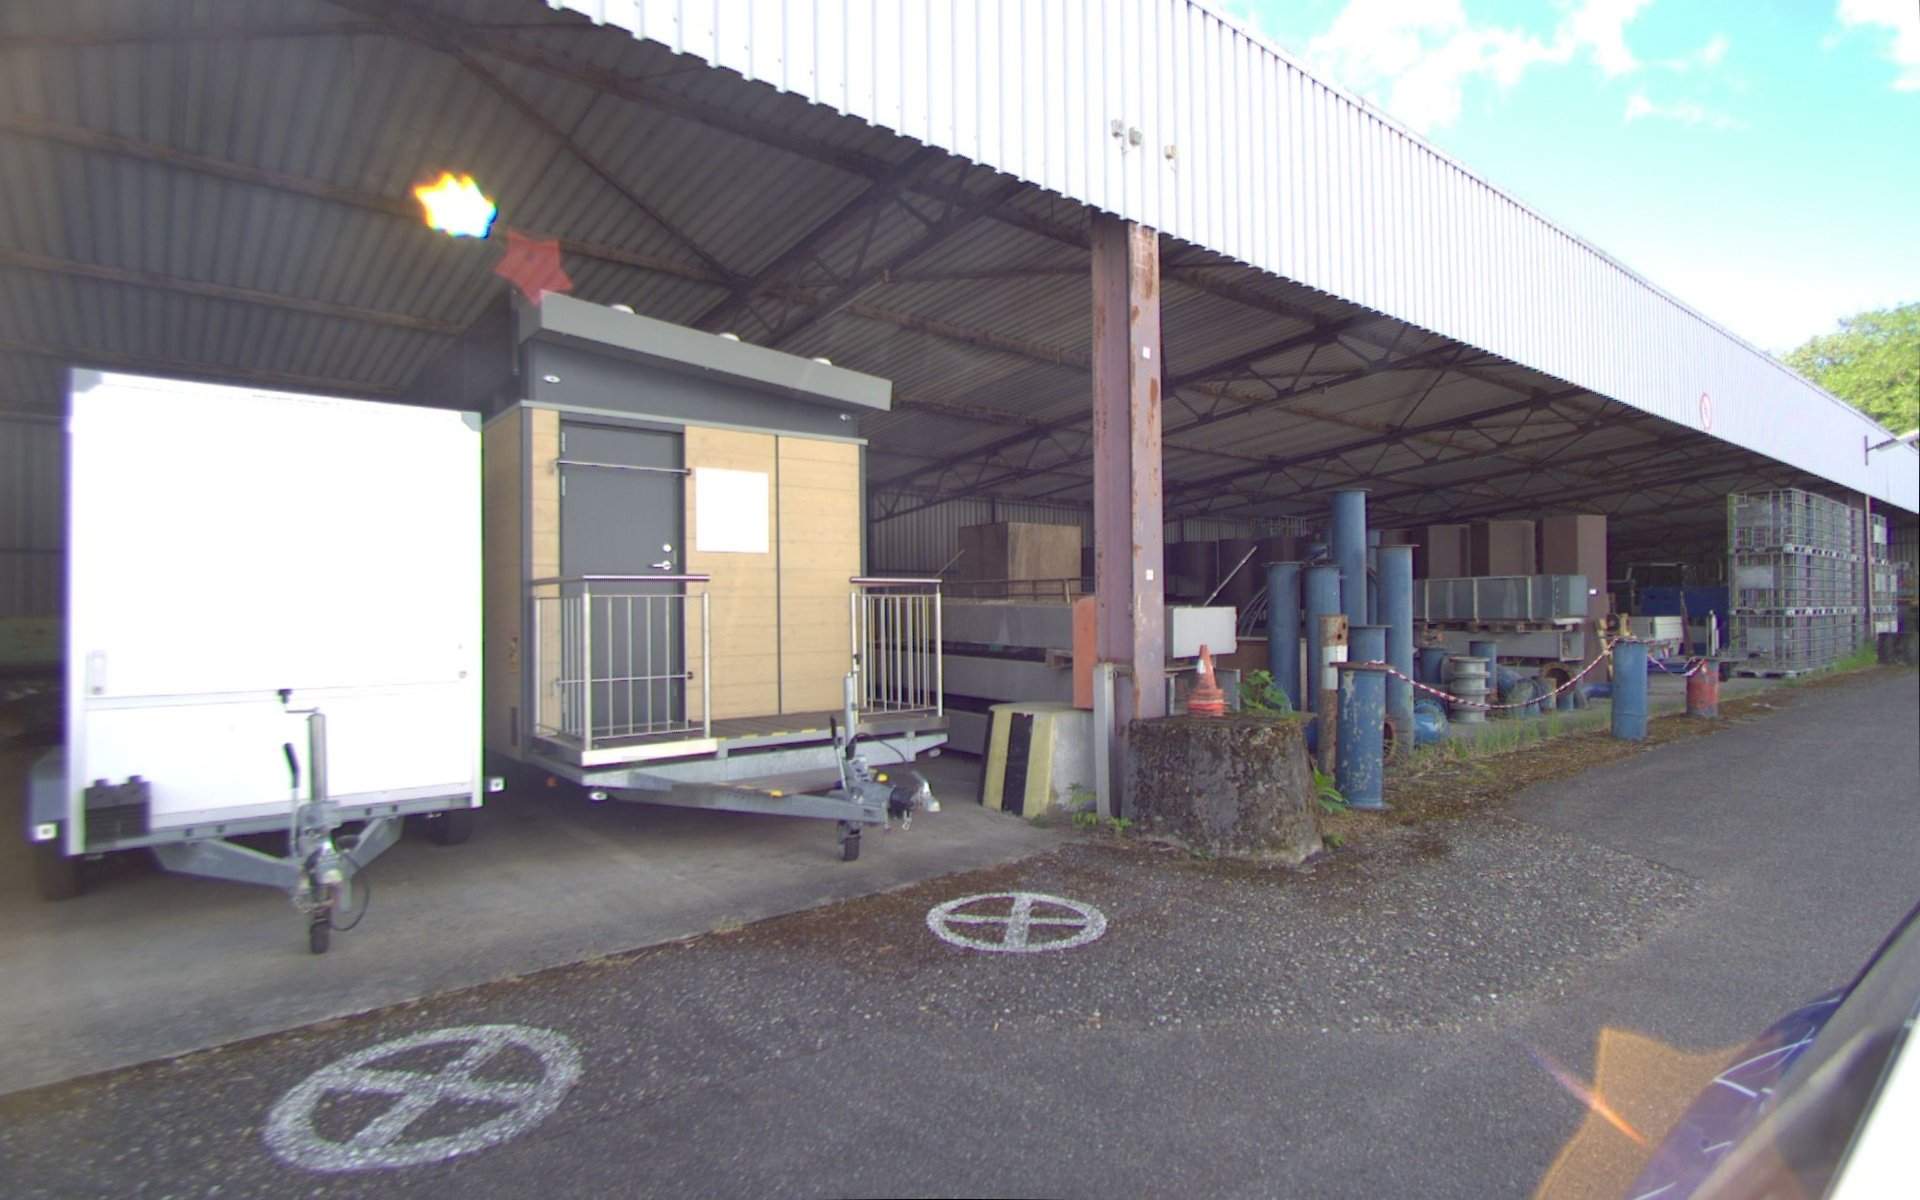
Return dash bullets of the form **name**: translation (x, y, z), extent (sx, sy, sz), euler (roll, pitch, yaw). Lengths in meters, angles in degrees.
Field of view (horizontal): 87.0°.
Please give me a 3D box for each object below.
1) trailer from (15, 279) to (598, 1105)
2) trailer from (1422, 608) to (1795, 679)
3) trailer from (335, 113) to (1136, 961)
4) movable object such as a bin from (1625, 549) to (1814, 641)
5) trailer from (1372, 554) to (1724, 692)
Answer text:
- **trailer**: translation (-3.467, 0.241, 5.205), extent (1.658, 2.364, 4.552), euler (0, 0, -38)
- **trailer**: translation (12.242, 0.752, 19.541), extent (1.974, 1.147, 5.743), euler (0, 0, -40)
- **trailer**: translation (-3.235, -0.293, 8.860), extent (2.627, 3.337, 10.317), euler (0, 0, -38)
- **movable object such as a bin**: translation (24.593, -0.146, 32.905), extent (1.965, 2.757, 4.622), euler (2, -1, -41)
- **trailer**: translation (9.831, 0.311, 17.320), extent (2.009, 2.022, 4.831), euler (-1, 1, -36)
